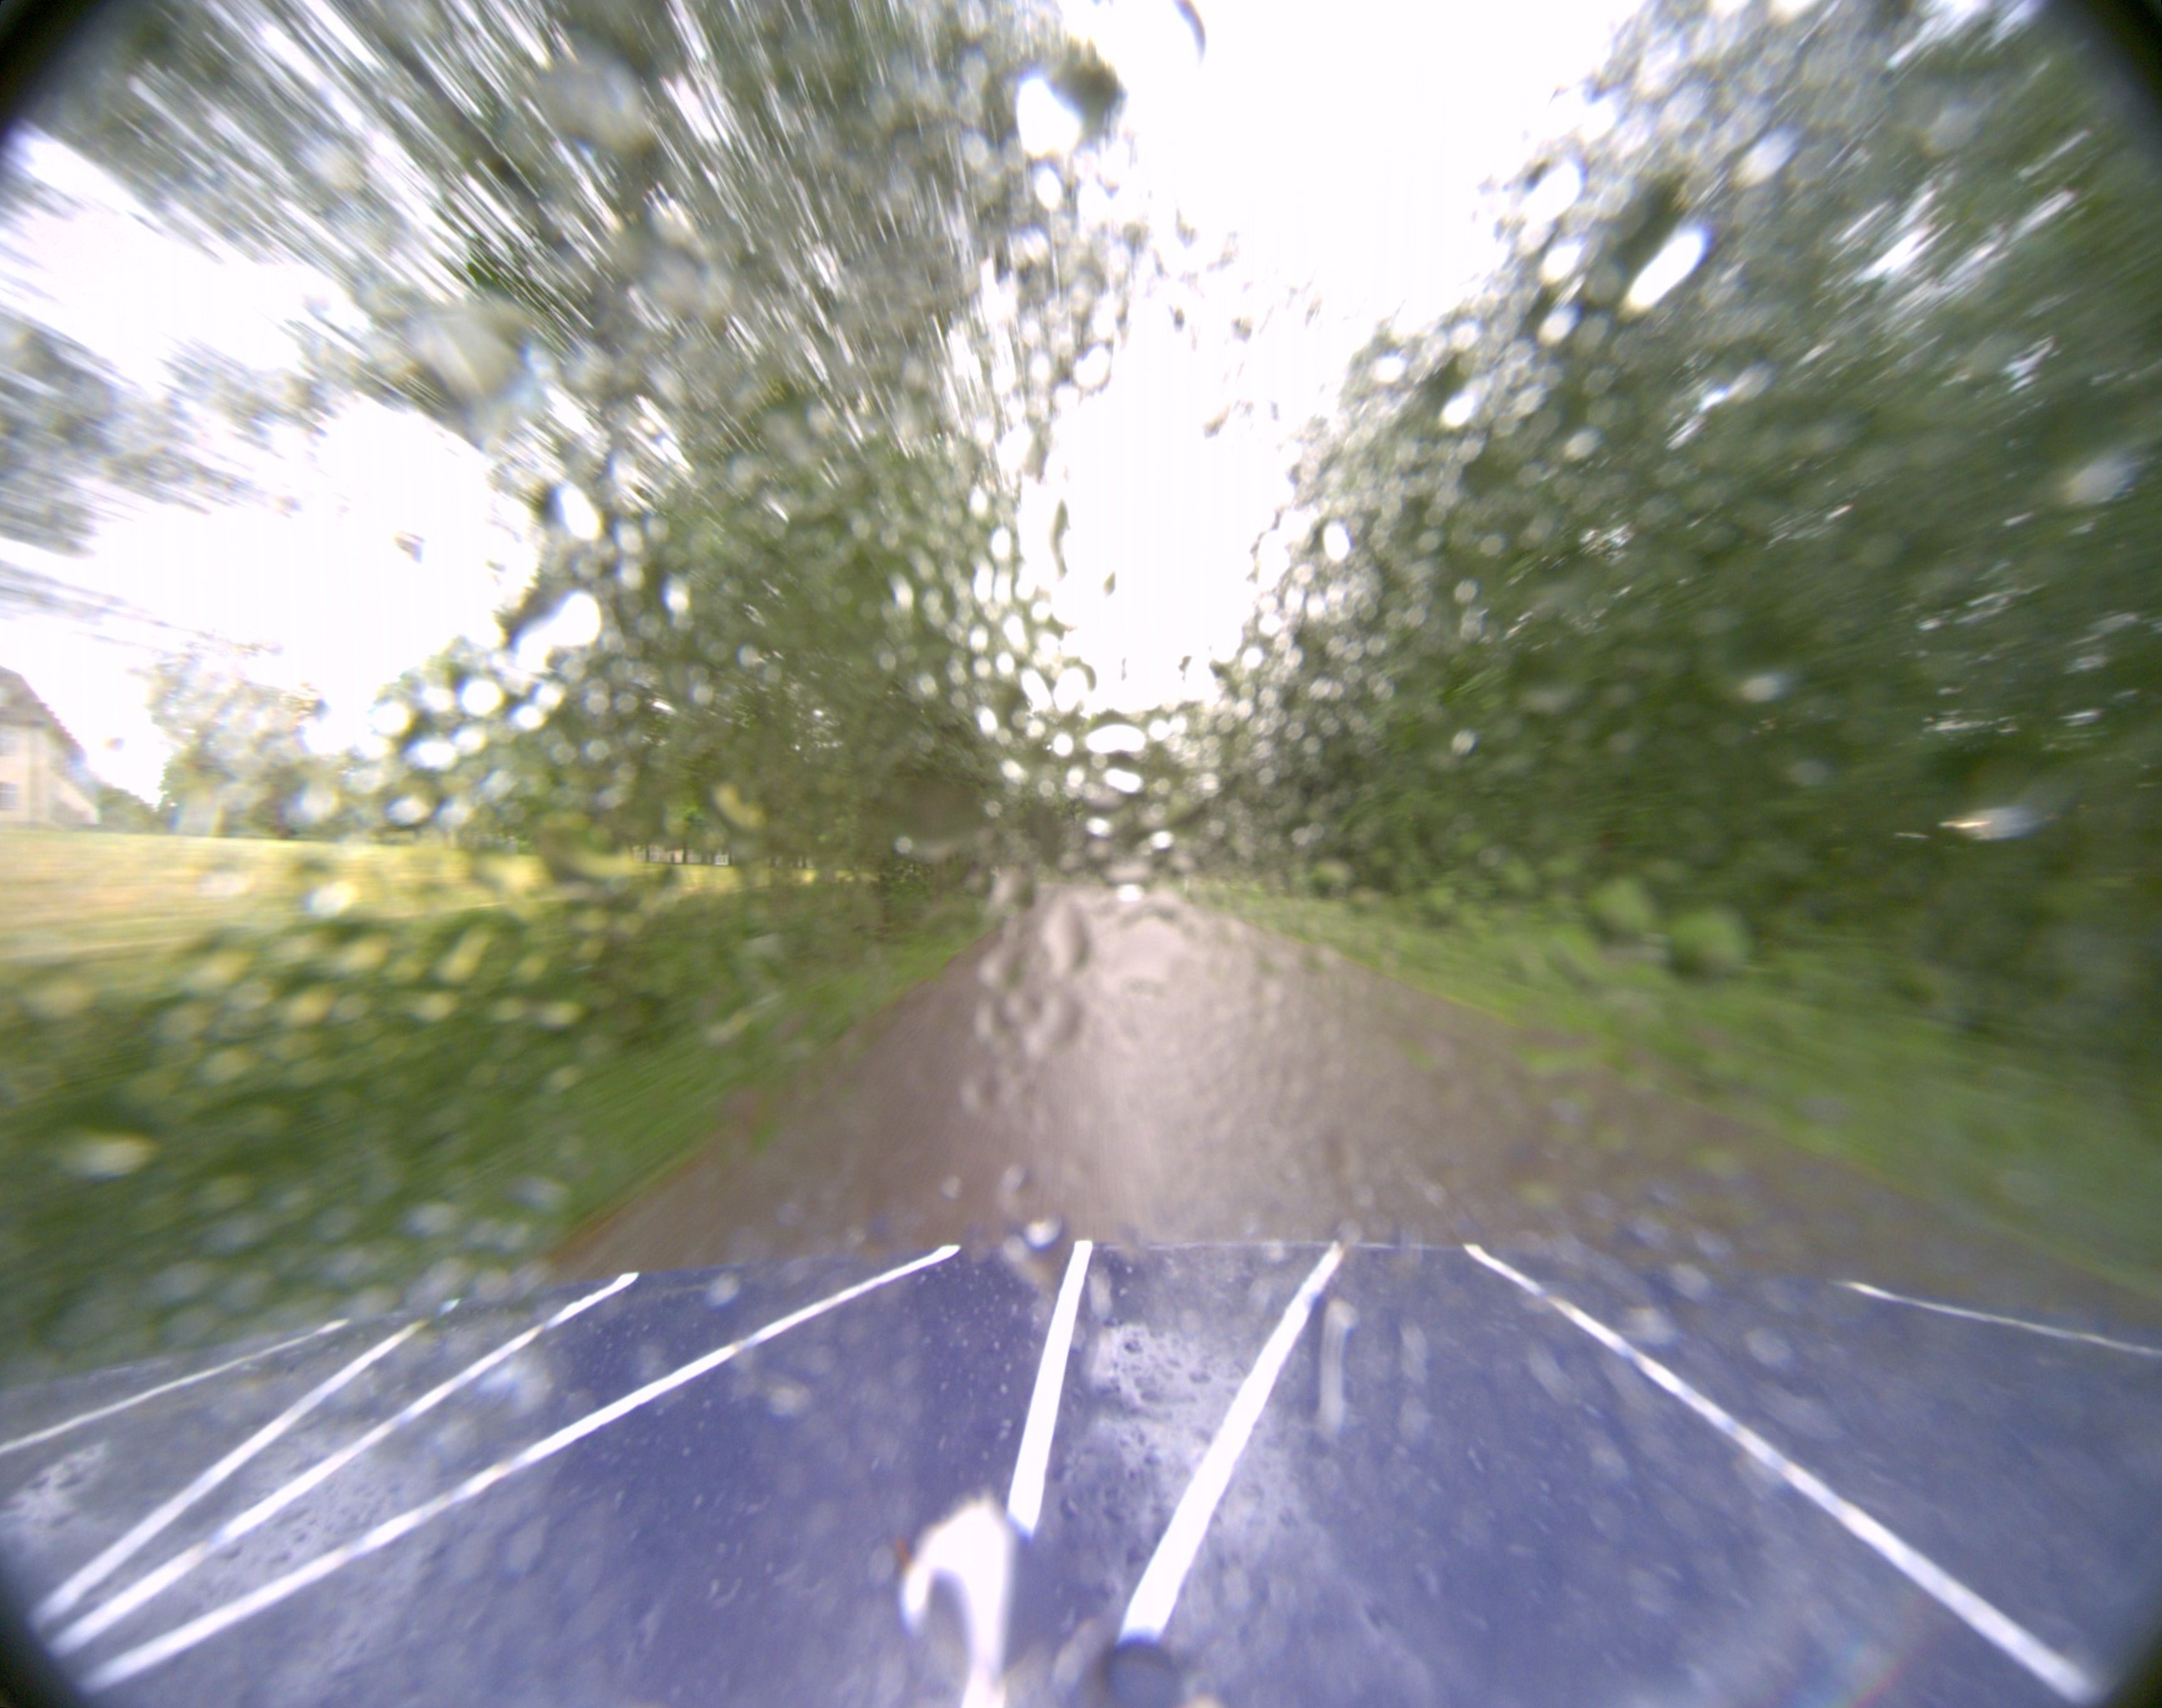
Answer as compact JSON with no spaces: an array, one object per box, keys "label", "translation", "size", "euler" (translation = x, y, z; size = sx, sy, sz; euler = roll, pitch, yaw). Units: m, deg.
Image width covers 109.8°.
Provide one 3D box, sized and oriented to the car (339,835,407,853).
[{"label":"car","translation":[-65.944,-0.880,70.819],"size":[1.994,1.419,4.306],"euler":[0,-3,35]}]
